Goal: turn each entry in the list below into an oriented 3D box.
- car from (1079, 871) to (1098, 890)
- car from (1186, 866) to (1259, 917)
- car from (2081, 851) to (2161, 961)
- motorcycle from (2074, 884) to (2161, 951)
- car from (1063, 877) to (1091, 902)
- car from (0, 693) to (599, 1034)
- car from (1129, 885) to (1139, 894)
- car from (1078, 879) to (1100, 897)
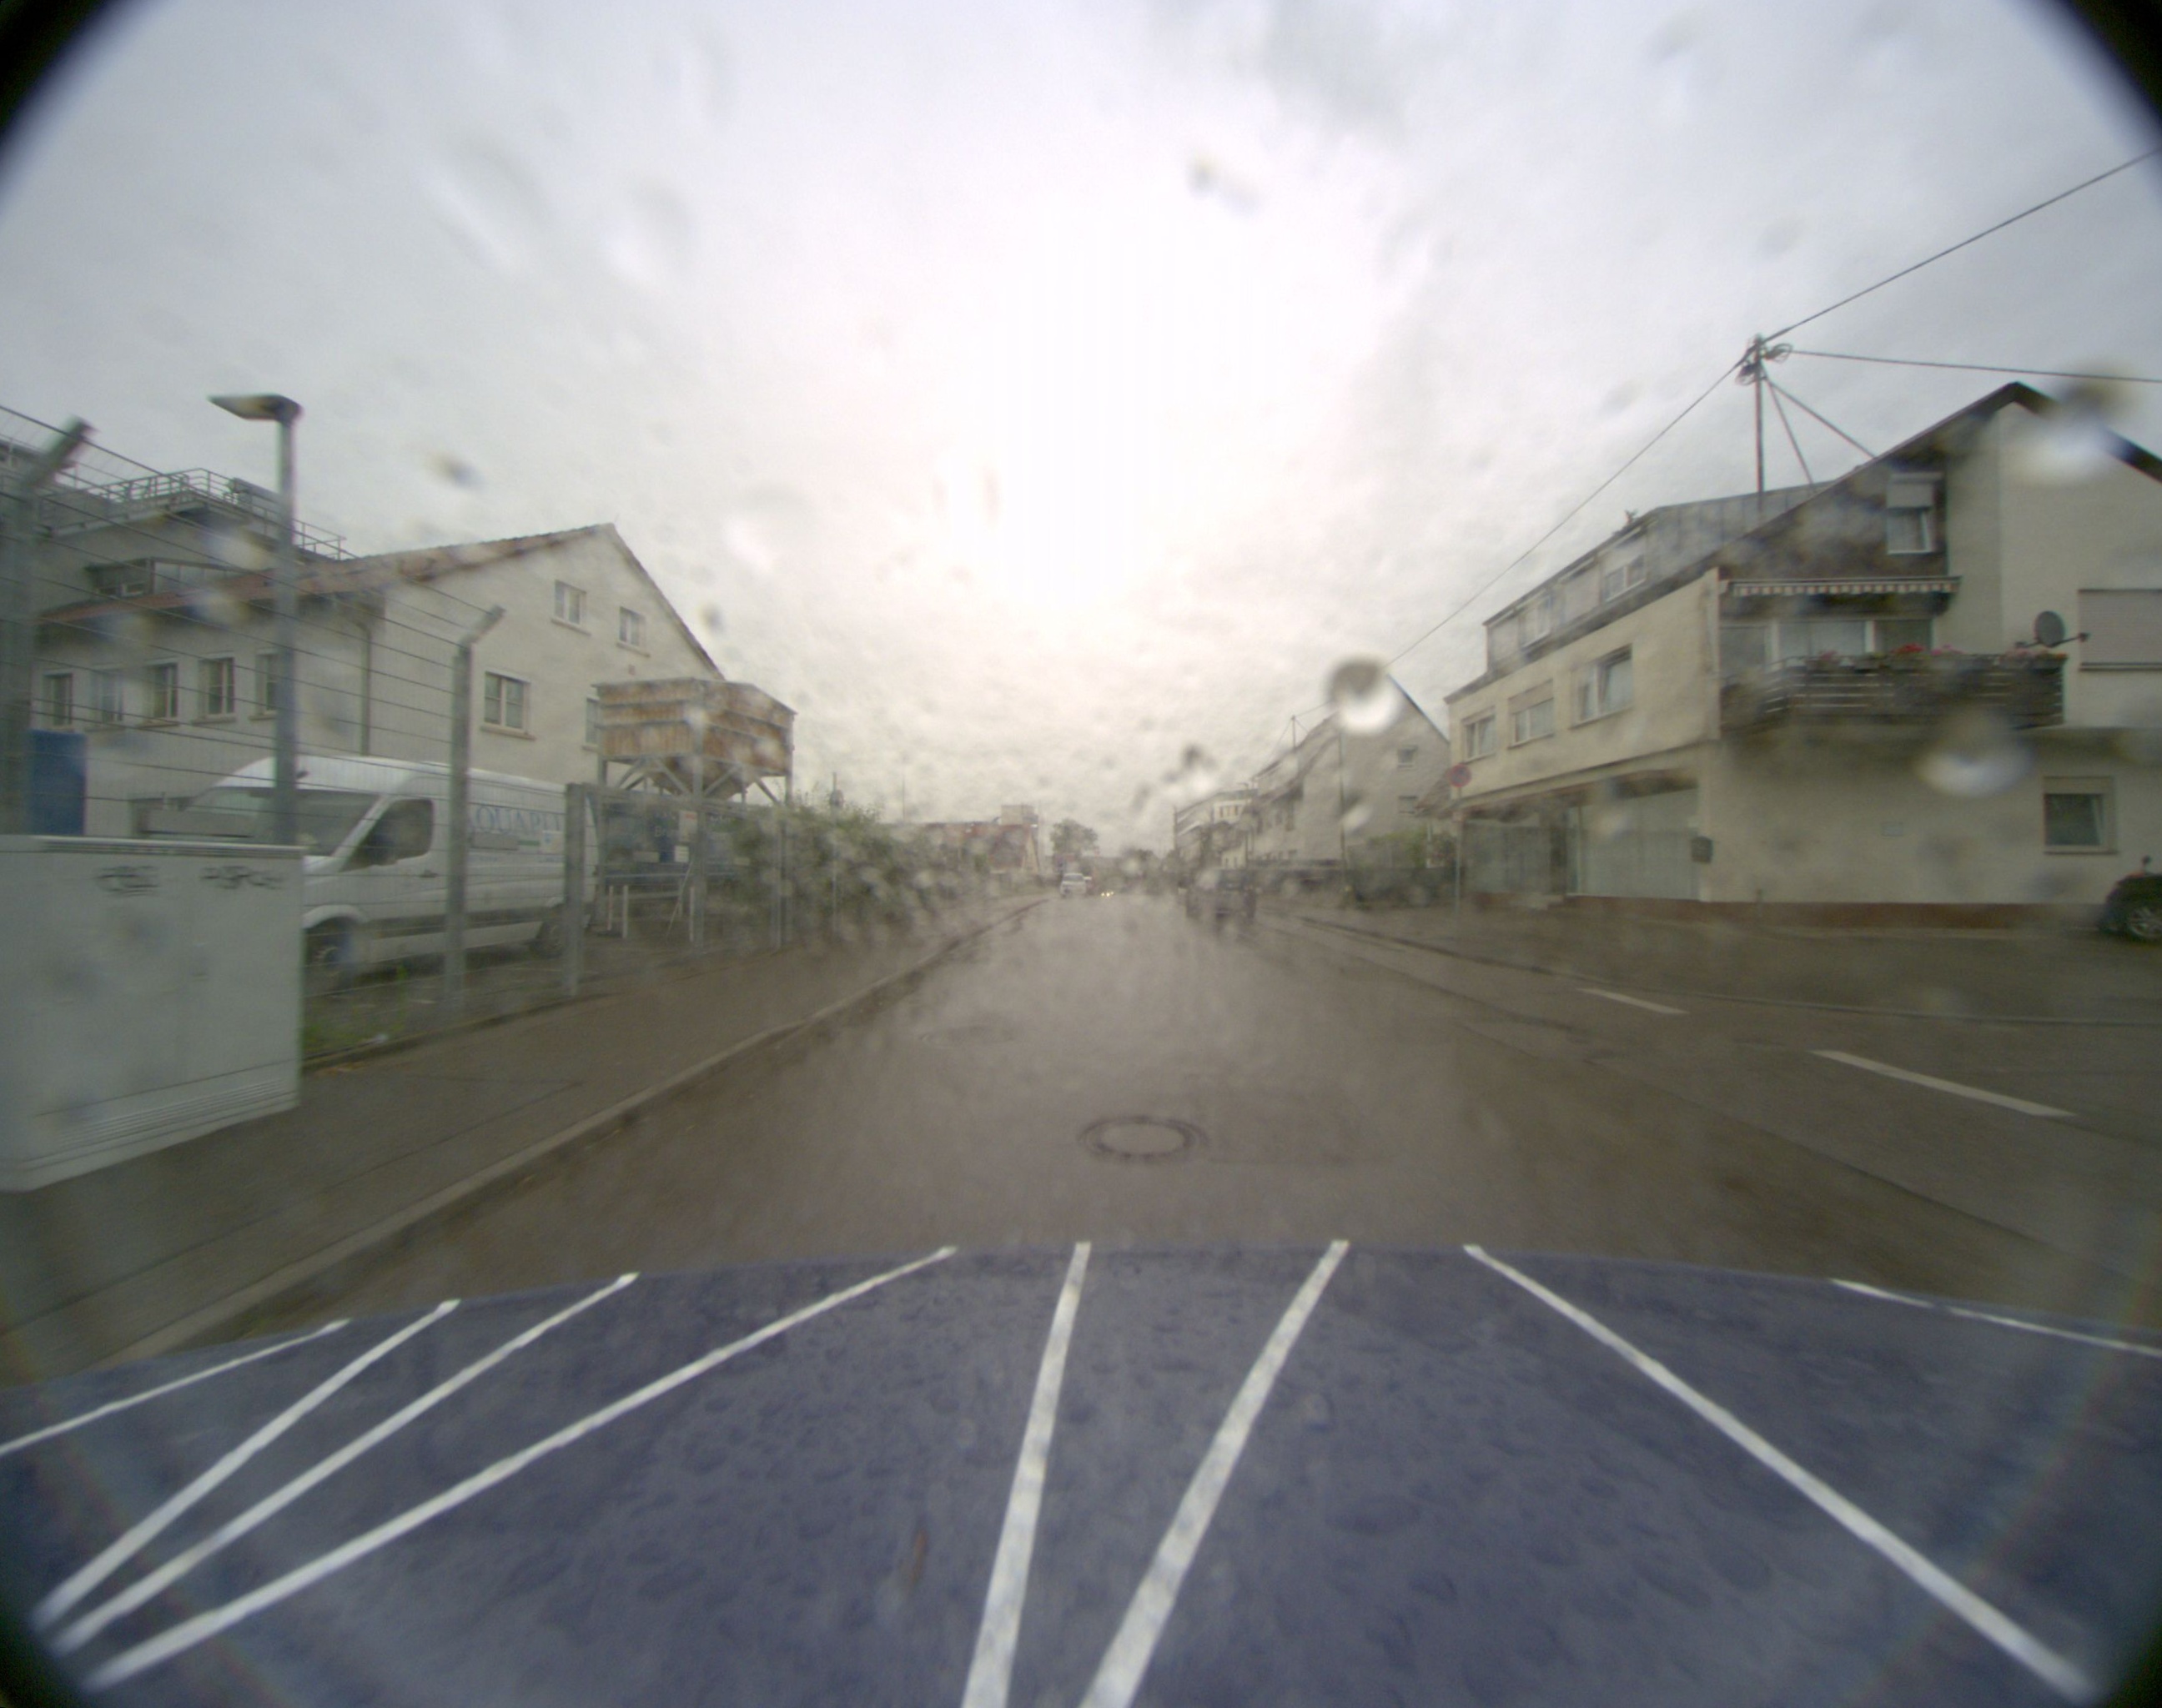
[{"bbox_3d":[0.785,2.652,75.153,1.773,1.813,4.577,-1,-3,2],"label":"car"},{"bbox_3d":[4.480,1.152,24.562,1.680,1.518,4.001,0,-1,1],"label":"car"},{"bbox_3d":[17.272,0.832,10.143,1.863,1.649,4.544,0,1,1],"label":"car"},{"bbox_3d":[18.134,1.085,12.849,1.839,1.076,0.614,2,0,1],"label":"motorcycle"},{"bbox_3d":[-0.244,2.303,49.746,1.685,1.547,3.676,-1,-2,2],"label":"car"},{"bbox_3d":[-8.441,0.178,8.975,1.999,2.667,5.951,2,-2,-5],"label":"car"},{"bbox_3d":[10.111,6.850,145.351,1.841,1.695,4.327,0,-3,4],"label":"car"},{"bbox_3d":[0.707,2.990,66.547,1.646,1.564,4.647,-1,-3,4],"label":"car"}]
